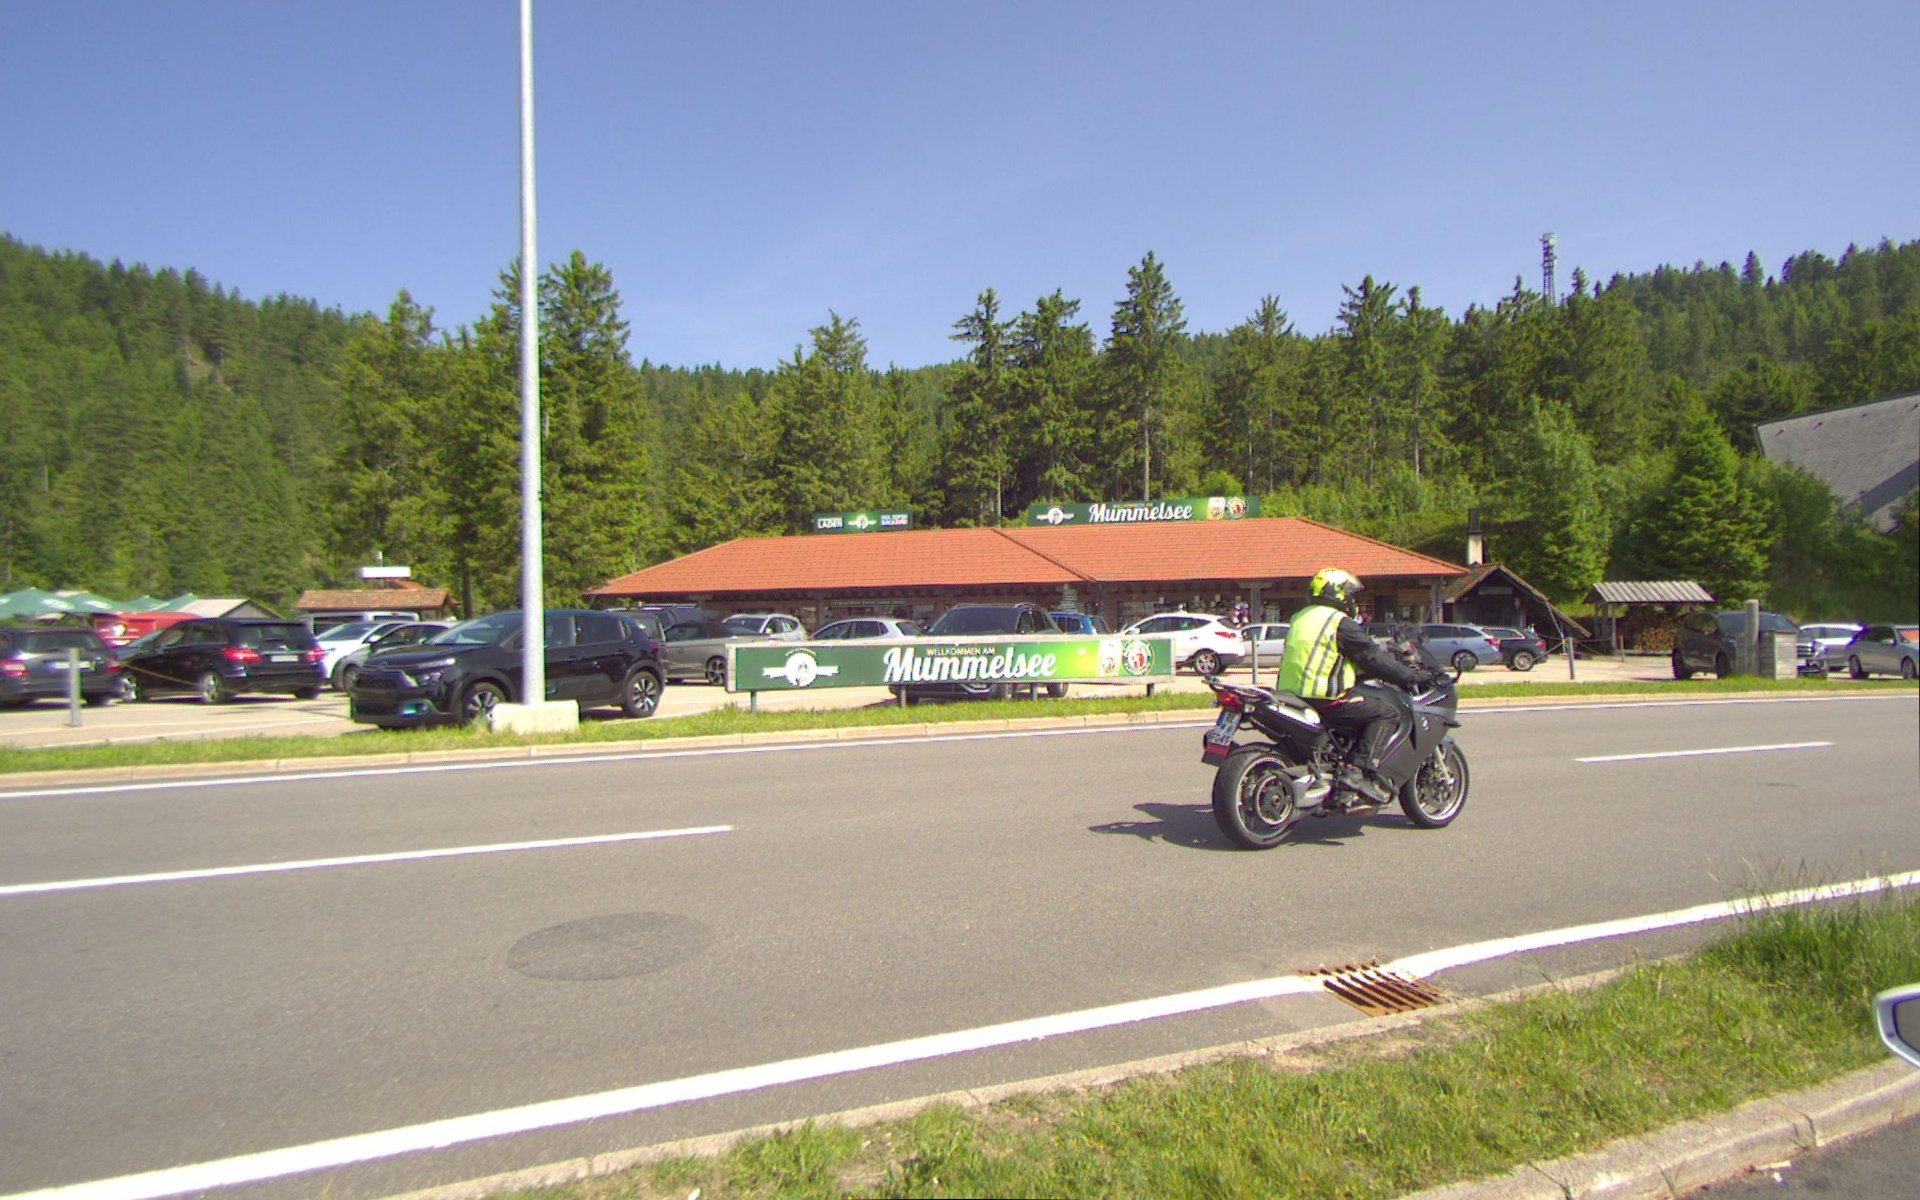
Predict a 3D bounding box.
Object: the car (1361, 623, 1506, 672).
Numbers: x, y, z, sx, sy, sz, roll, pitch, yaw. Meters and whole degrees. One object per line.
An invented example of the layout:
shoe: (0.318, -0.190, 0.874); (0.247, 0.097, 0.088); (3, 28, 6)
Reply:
car: (14.553, 1.480, 31.059); (3.924, 1.438, 1.684); (-2, -3, 24)

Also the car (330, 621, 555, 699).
car: (-10.117, 1.160, 19.647); (3.924, 1.389, 1.811); (-2, -1, 23)

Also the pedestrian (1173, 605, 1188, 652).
pedestrian: (9.109, 1.170, 41.528); (0.518, 1.898, 0.547); (0, 0, 21)

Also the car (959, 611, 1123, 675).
car: (2.165, 1.158, 26.747); (3.924, 1.594, 1.999); (-2, -2, 23)

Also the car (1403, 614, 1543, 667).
car: (16.696, 1.329, 32.901); (3.925, 1.639, 1.998); (-2, -1, 25)

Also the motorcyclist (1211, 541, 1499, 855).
motorcyclist: (2.380, 0.534, 6.145); (1.274, 1.697, 1.024); (1, 0, -21)

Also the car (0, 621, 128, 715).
car: (-16.884, 1.173, 17.756); (4.002, 1.505, 1.715); (-2, -1, 23)

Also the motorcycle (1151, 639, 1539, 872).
motorcycle: (2.361, 0.859, 6.146); (2.252, 1.193, 0.820); (1, 0, -22)

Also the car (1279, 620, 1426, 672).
car: (11.609, 1.380, 29.785); (3.924, 1.438, 1.684); (-2, -3, 25)

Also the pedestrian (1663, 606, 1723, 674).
pedestrian: (19.634, 1.066, 26.923); (0.946, 1.757, 0.895); (-1, -1, -22)

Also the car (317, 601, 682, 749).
car: (-5.660, 0.831, 12.862); (1.751, 1.572, 3.993); (-1, -1, 29)

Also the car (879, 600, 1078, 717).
car: (0.434, 0.816, 15.818); (1.707, 1.588, 4.057); (0, -1, 24)

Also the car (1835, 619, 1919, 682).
car: (23.700, 1.199, 24.931); (1.710, 1.460, 3.970); (-2, -2, 21)

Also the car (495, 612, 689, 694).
car: (-7.777, 1.112, 21.256); (3.662, 1.609, 1.734); (-2, -1, 24)

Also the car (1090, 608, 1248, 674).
car: (5.727, 1.144, 27.529); (3.953, 1.694, 1.776); (-2, -3, 22)

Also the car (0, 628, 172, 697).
car: (-20.188, 1.407, 22.774); (3.922, 1.437, 1.935); (-2, -2, 21)

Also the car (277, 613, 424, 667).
car: (-18.657, 1.209, 30.757); (3.806, 1.550, 1.910); (-2, -1, 21)

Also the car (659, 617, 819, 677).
car: (-6.164, 1.317, 28.130); (3.922, 1.594, 2.000); (-2, -2, 21)

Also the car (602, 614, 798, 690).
car: (-5.833, 1.155, 22.560); (3.924, 1.565, 1.898); (-2, -1, 25)

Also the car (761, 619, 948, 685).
car: (-2.457, 1.200, 23.507); (3.924, 1.439, 1.907); (-2, -2, 24)

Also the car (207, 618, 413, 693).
car: (-14.686, 1.250, 22.733); (3.922, 1.572, 2.000); (-2, -2, 21)

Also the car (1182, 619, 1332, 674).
car: (8.560, 1.357, 28.931); (3.948, 1.487, 1.776); (-2, -3, 22)

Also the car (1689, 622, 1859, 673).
car: (26.248, 1.526, 32.546); (3.921, 1.514, 1.685); (-1, 1, 18)

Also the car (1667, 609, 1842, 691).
car: (17.963, 1.077, 22.967); (1.753, 1.655, 4.212); (1, -1, 18)

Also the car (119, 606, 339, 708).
car: (-13.678, 1.028, 18.768); (3.928, 1.726, 1.823); (-2, -1, 29)

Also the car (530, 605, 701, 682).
car: (-9.178, 1.159, 26.819); (3.922, 1.929, 2.000); (-2, -2, 21)
